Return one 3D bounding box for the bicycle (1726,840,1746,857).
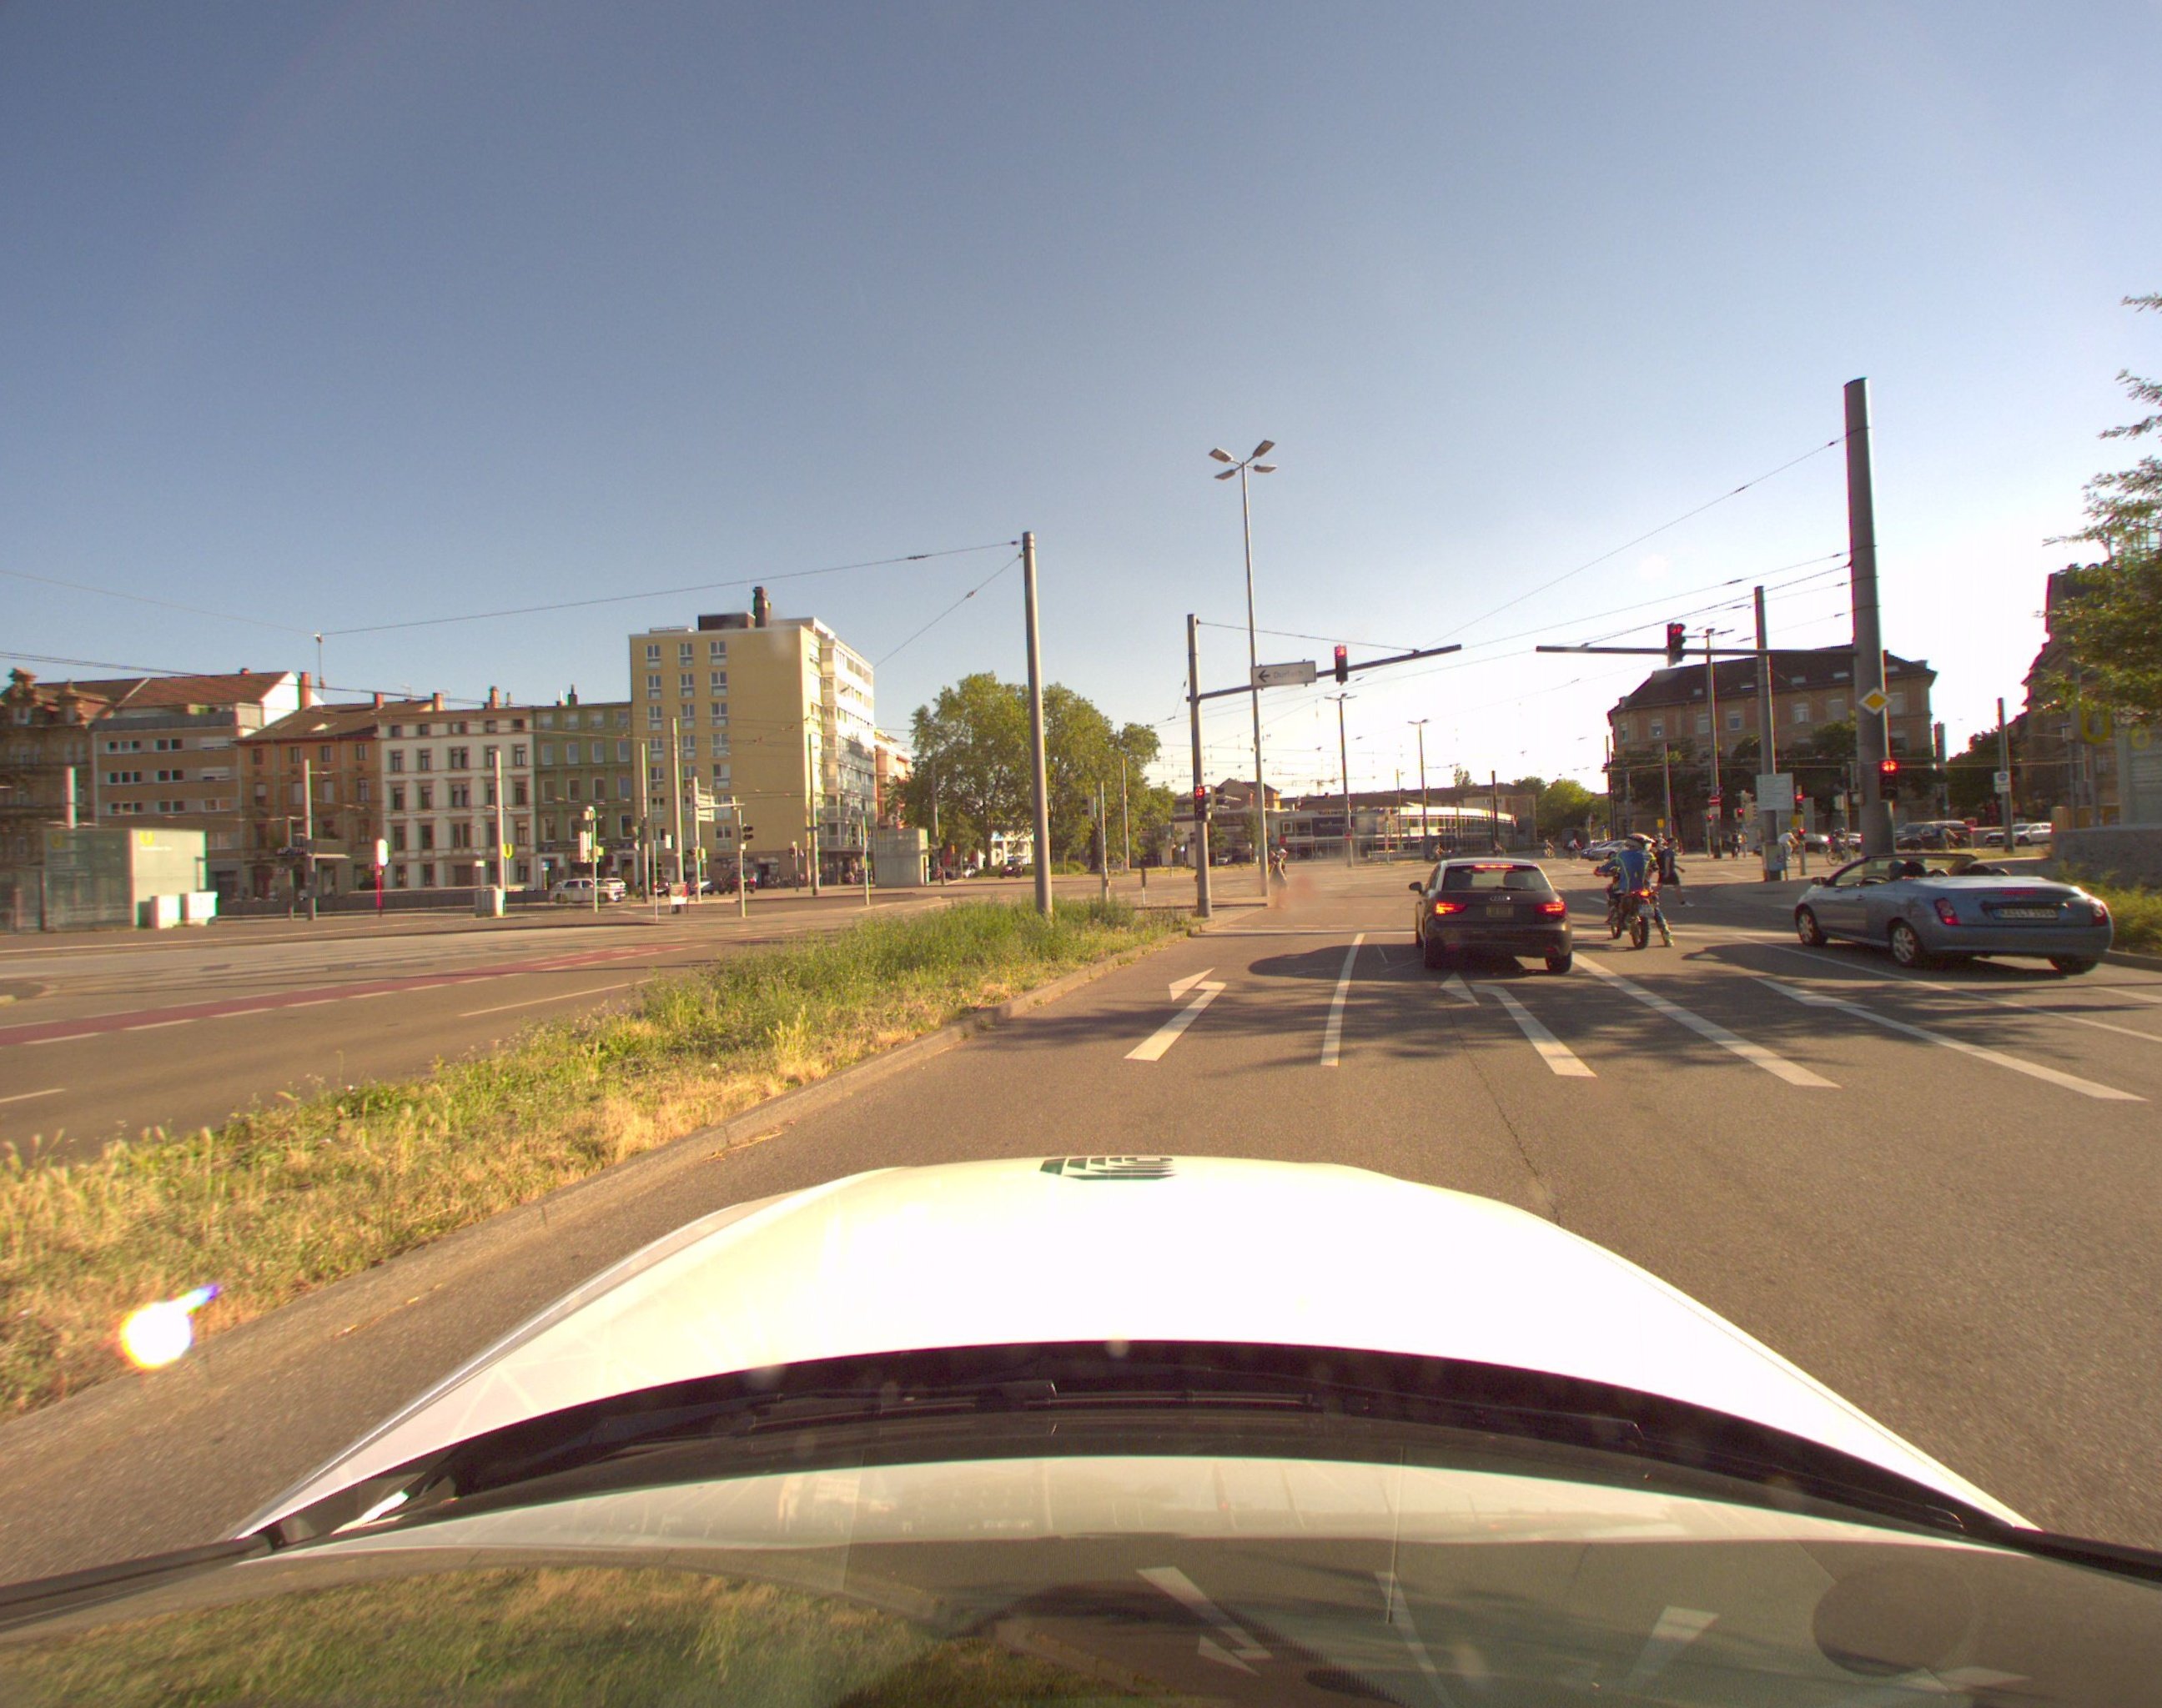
[{"bbox_3d":[39.004,-0.343,48.474,0.849,0.905,2.318,-1,2,40],"label":"bicycle"}]

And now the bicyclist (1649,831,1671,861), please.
[{"bbox_3d":[34.794,-0.475,48.948,0.583,1.778,0.864,-2,-1,-10],"label":"bicyclist"}]

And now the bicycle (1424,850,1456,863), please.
[{"bbox_3d":[29.813,0.186,67.618,2.289,0.979,0.860,-2,1,-1],"label":"bicycle"}]

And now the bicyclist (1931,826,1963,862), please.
[{"bbox_3d":[41.947,-0.491,39.446,0.650,1.690,0.856,-2,1,-16],"label":"bicyclist"}]

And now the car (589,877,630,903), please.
[{"bbox_3d":[-36.004,2.699,62.118,2.097,1.719,3.964,-3,2,-38],"label":"car"}]

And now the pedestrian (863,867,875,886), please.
[{"bbox_3d":[-18.901,2.028,72.757,0.772,1.676,0.783,-2,-1,4],"label":"pedestrian"}]

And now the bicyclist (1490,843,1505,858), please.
[{"bbox_3d":[33.474,-0.283,65.424,0.712,1.143,0.835,-2,1,-8],"label":"bicyclist"}]

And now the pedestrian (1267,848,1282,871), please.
[{"bbox_3d":[15.677,0.411,65.932,0.981,1.816,0.924,-2,1,19],"label":"pedestrian"}]

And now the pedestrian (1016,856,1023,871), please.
[{"bbox_3d":[-8.021,1.270,106.947,0.583,2.014,0.714,-3,-1,20],"label":"pedestrian"}]

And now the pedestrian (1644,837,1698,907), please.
[{"bbox_3d":[14.684,0.443,20.281,0.829,1.671,0.694,-2,-1,-18],"label":"pedestrian"}]

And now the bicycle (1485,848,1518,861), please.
[{"bbox_3d":[33.771,0.027,65.467,2.294,0.959,0.858,-2,1,-8],"label":"bicycle"}]

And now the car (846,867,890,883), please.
[{"bbox_3d":[-21.656,2.096,82.966,3.976,1.422,1.812,-2,-1,-2],"label":"car"}]

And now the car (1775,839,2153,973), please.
[{"bbox_3d":[11.359,0.559,10.944,1.786,1.444,3.998,-1,0,20],"label":"car"}]

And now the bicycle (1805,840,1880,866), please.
[{"bbox_3d":[35.196,-0.056,37.684,2.469,1.133,0.866,-1,2,40],"label":"bicycle"}]

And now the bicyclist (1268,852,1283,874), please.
[{"bbox_3d":[14.243,0.623,59.619,0.919,1.559,0.964,-2,-1,5],"label":"bicyclist"}]

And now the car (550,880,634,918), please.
[{"bbox_3d":[-29.272,2.653,48.796,3.720,2.013,2.001,-2,1,1],"label":"car"}]

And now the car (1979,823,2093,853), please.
[{"bbox_3d":[64.113,-1.058,54.774,4.805,1.799,1.959,-2,-1,9],"label":"car"}]

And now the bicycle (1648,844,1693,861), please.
[{"bbox_3d":[35.478,-0.100,49.014,2.295,0.905,0.858,-2,1,-9],"label":"bicycle"}]

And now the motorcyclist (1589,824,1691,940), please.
[{"bbox_3d":[8.682,0.423,12.710,1.086,1.721,0.941,-1,-1,22],"label":"motorcyclist"}]

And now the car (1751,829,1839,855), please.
[{"bbox_3d":[47.357,-0.795,54.101,4.075,1.486,1.954,-2,-1,0],"label":"car"}]

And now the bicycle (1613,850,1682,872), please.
[{"bbox_3d":[25.334,0.287,36.444,2.485,0.874,0.860,-2,1,-1],"label":"bicycle"}]

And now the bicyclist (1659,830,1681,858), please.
[{"bbox_3d":[35.456,-0.607,49.004,0.649,1.690,0.858,-2,1,-8],"label":"bicyclist"}]

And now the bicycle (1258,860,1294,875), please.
[{"bbox_3d":[14.287,1.014,59.604,2.426,1.003,0.964,-2,-1,5],"label":"bicycle"}]

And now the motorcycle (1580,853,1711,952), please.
[{"bbox_3d":[8.681,0.686,12.695,1.086,1.377,2.667,-1,-1,22],"label":"motorcycle"}]

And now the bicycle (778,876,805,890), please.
[{"bbox_3d":[-24.843,2.447,69.867,2.034,1.090,0.777,-2,-1,1],"label":"bicycle"}]

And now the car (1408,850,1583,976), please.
[{"bbox_3d":[5.663,0.685,11.582,1.785,1.444,3.999,-1,0,21],"label":"car"}]

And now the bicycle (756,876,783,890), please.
[{"bbox_3d":[-27.072,2.500,70.773,2.034,1.090,0.777,-2,-1,1],"label":"bicycle"}]

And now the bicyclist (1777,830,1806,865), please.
[{"bbox_3d":[35.102,-0.351,40.242,0.646,1.690,0.861,-2,1,3],"label":"bicyclist"}]

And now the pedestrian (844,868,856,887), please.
[{"bbox_3d":[-20.677,2.084,72.882,0.772,1.676,0.783,-2,-1,4],"label":"pedestrian"}]

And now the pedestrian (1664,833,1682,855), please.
[{"bbox_3d":[46.849,-0.817,64.417,0.916,1.676,0.787,-3,-1,20],"label":"pedestrian"}]

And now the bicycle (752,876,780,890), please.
[{"bbox_3d":[-27.017,2.519,69.899,2.034,1.090,0.777,-2,-1,1],"label":"bicycle"}]

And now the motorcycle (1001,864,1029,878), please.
[{"bbox_3d":[-5.613,1.421,69.173,2.272,1.054,0.689,-2,1,7],"label":"motorcycle"}]

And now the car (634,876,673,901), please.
[{"bbox_3d":[-32.471,2.588,61.824,1.849,1.719,3.954,-3,2,-38],"label":"car"}]

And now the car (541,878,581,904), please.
[{"bbox_3d":[-39.850,2.822,62.386,2.097,1.719,3.964,-3,2,-38],"label":"car"}]

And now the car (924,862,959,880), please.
[{"bbox_3d":[-16.724,2.027,97.753,3.993,1.857,1.844,-2,1,-15],"label":"car"}]

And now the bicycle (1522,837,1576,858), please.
[{"bbox_3d":[40.430,-0.540,70.455,3.971,1.690,1.140,-2,1,2],"label":"bicycle"}]

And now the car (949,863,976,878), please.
[{"bbox_3d":[-12.256,1.699,84.449,1.838,1.452,4.005,-2,0,5],"label":"car"}]

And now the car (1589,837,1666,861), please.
[{"bbox_3d":[37.782,-0.341,56.384,4.089,1.452,1.950,-2,-1,-6],"label":"car"}]

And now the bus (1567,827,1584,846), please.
[{"bbox_3d":[81.046,-2.972,133.413,2.331,2.883,9.640,-1,2,32],"label":"bus"}]

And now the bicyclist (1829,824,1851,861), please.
[{"bbox_3d":[35.141,-0.525,37.710,0.643,1.690,0.866,-1,1,39],"label":"bicyclist"}]

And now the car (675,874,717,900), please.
[{"bbox_3d":[-29.246,2.467,61.738,1.849,1.748,3.953,-3,2,-41],"label":"car"}]

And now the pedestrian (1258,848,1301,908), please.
[{"bbox_3d":[5.464,0.652,22.459,1.086,1.606,0.701,-2,1,10],"label":"pedestrian"}]

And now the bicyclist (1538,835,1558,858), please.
[{"bbox_3d":[40.408,-0.666,70.476,1.066,1.900,1.124,-2,1,3],"label":"bicyclist"}]

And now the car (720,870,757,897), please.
[{"bbox_3d":[-25.981,2.191,61.695,1.860,1.857,3.959,-3,2,-33],"label":"car"}]

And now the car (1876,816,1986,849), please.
[{"bbox_3d":[56.128,-1.398,53.853,4.806,1.893,1.958,-2,-1,9],"label":"car"}]

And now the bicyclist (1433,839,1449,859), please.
[{"bbox_3d":[29.875,-0.421,67.607,0.921,1.559,0.860,-2,1,-2],"label":"bicyclist"}]

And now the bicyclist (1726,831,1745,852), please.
[{"bbox_3d":[38.825,-0.749,48.281,0.849,1.176,0.719,-1,2,40],"label":"bicyclist"}]

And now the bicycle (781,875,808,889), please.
[{"bbox_3d":[-24.863,2.427,70.717,2.034,1.090,0.777,-2,-1,1],"label":"bicycle"}]

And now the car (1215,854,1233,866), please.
[{"bbox_3d":[19.933,0.817,113.508,1.979,1.534,4.017,-2,1,15],"label":"car"}]

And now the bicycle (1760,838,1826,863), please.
[{"bbox_3d":[35.165,-0.183,40.245,2.483,1.133,0.861,-2,1,2],"label":"bicycle"}]

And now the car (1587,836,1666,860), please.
[{"bbox_3d":[39.686,-0.422,59.385,4.558,1.594,1.965,-3,-1,27],"label":"car"}]

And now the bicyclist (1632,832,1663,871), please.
[{"bbox_3d":[25.338,-0.110,36.444,0.743,1.690,0.860,-2,1,0],"label":"bicyclist"}]
